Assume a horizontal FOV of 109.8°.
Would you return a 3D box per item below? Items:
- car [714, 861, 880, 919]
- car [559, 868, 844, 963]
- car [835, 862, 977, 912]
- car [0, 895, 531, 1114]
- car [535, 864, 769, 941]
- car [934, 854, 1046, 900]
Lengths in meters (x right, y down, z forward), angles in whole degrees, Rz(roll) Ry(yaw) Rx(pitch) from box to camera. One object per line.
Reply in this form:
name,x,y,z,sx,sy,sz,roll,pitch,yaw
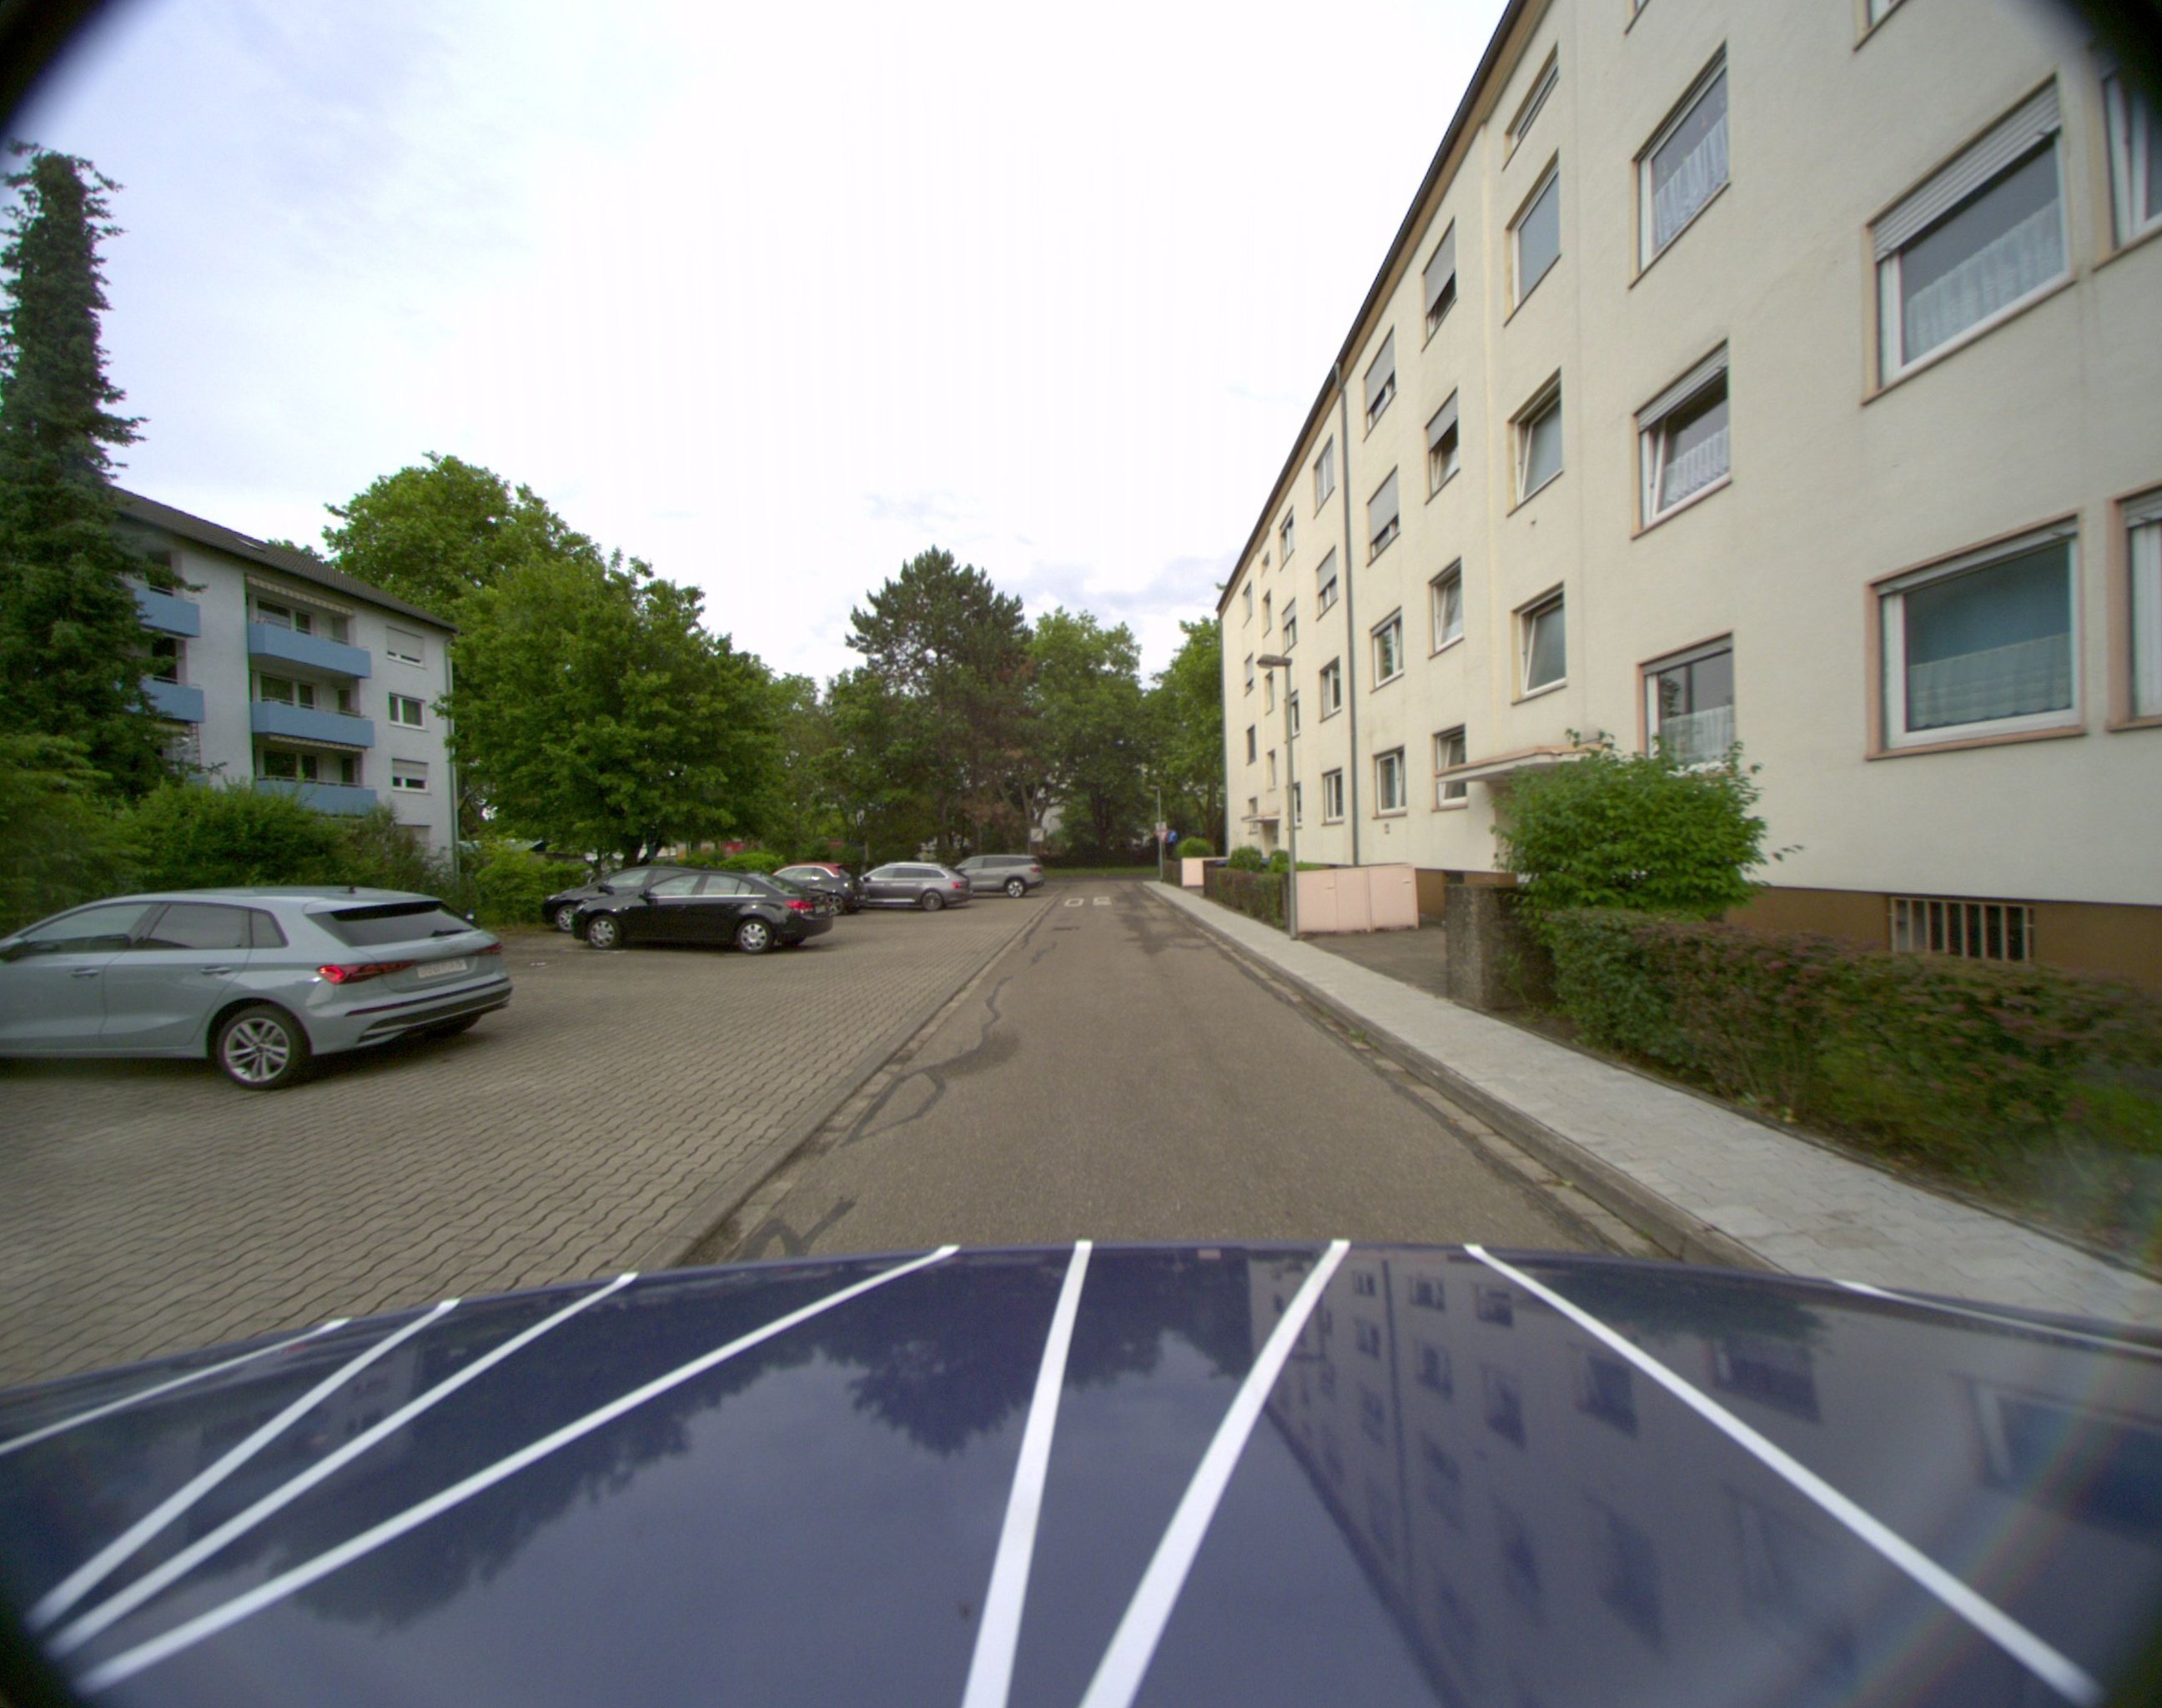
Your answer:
car,-8.108,0.995,21.942,4.103,1.476,1.788,1,0,1
car,-6.821,1.075,13.981,4.334,1.476,1.788,1,0,1
car,-5.555,1.041,24.479,4.104,1.476,1.787,-1,1,0
car,-7.215,1.134,6.302,3.976,1.426,1.731,-1,1,-1
car,-9.314,1.012,16.722,4.103,1.476,1.788,1,0,1
car,-3.455,0.868,29.481,4.104,1.636,1.787,-1,1,0
